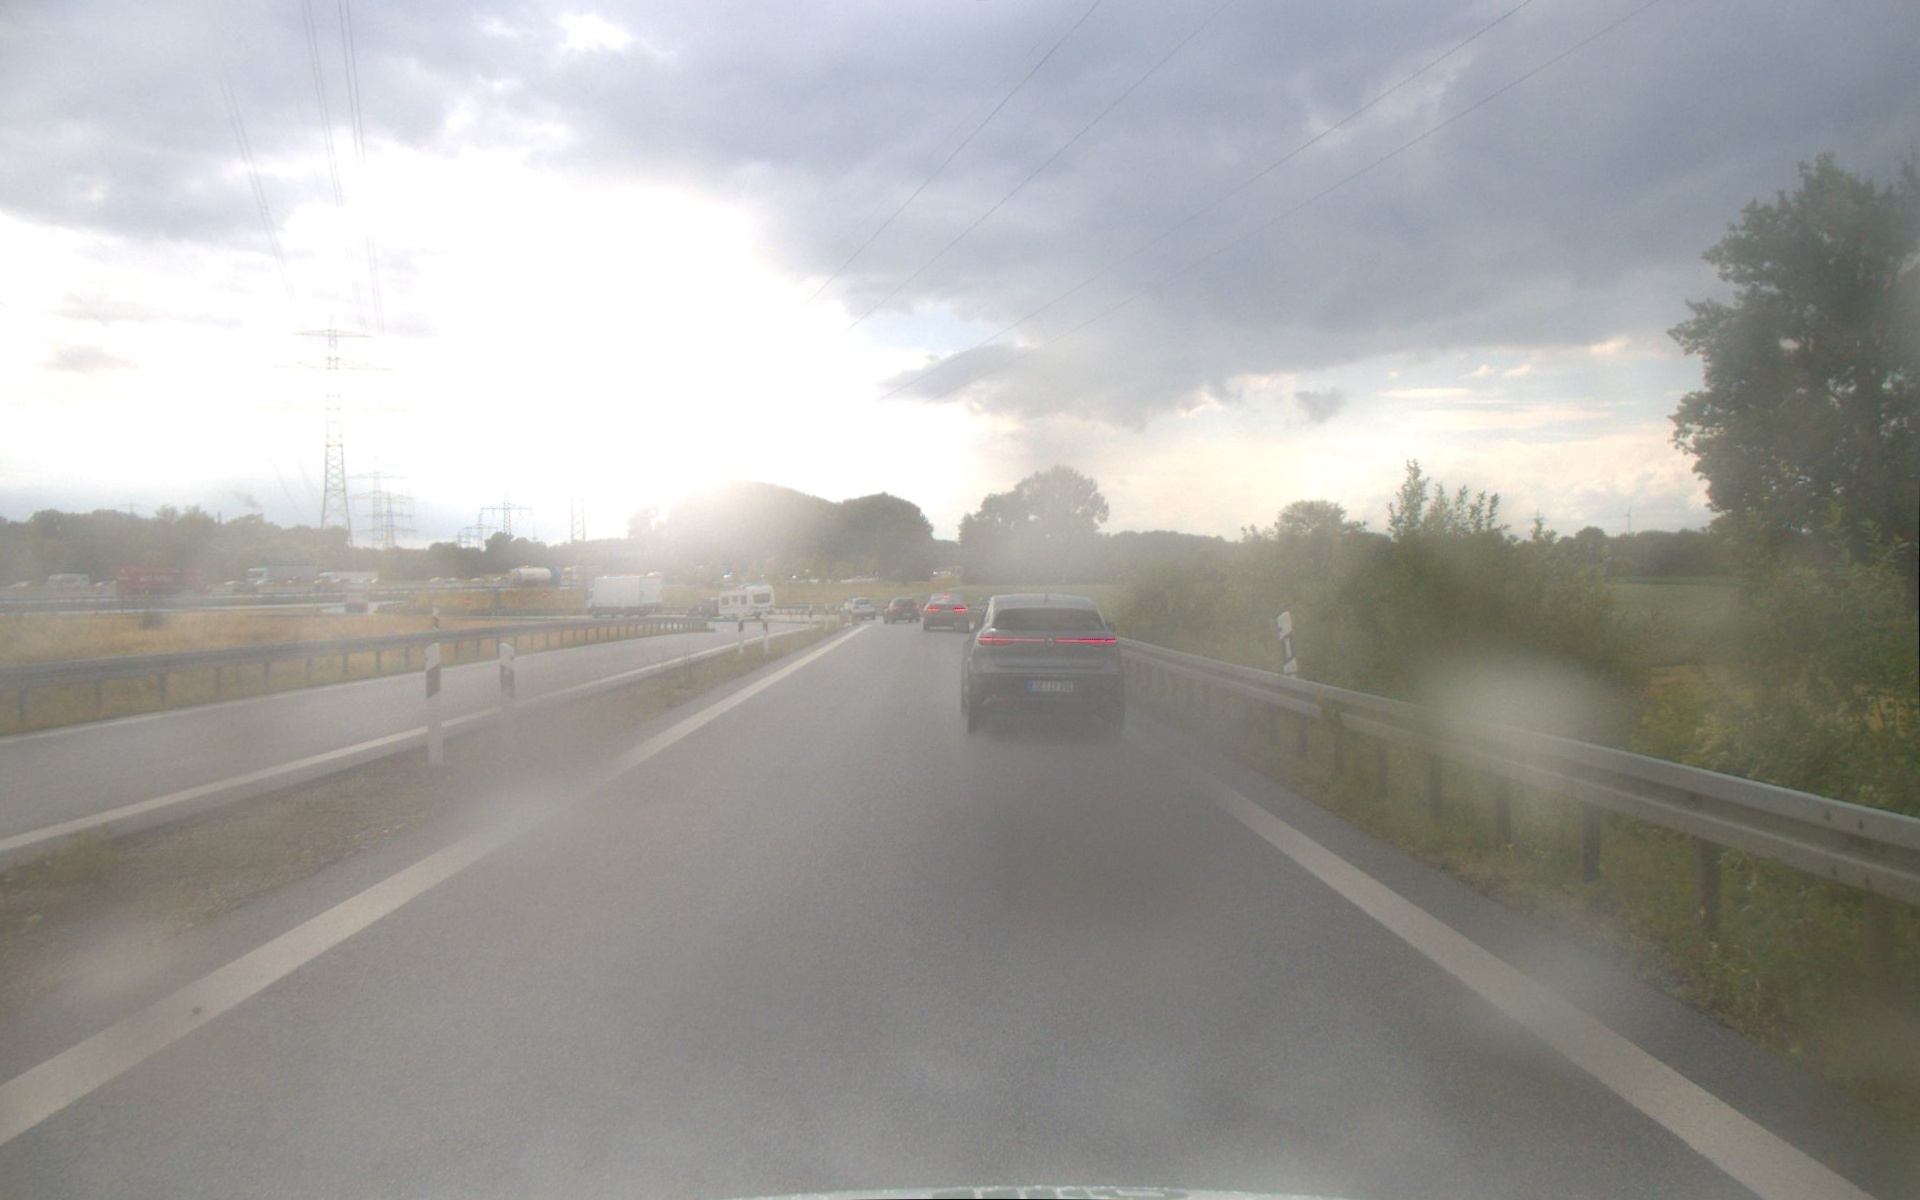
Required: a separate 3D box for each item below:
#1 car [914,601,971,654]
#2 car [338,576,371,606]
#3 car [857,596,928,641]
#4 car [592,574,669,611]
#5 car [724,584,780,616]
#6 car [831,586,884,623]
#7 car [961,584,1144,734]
[{"bbox_3d":[-0.788,1.116,69.284,2.079,2.053,5.530,-1,1,-4],"label":"car"},{"bbox_3d":[-75.082,-1.114,204.843,3.338,3.673,8.979,-1,0,-23],"label":"car"},{"bbox_3d":[-4.073,1.065,98.997,2.324,2.347,5.083,-1,3,-27],"label":"car"},{"bbox_3d":[-29.605,-0.722,148.357,7.080,3.002,3.128,2,3,42],"label":"car"},{"bbox_3d":[-16.619,-0.038,131.831,2.333,2.347,5.065,-2,3,-36],"label":"car"},{"bbox_3d":[-7.276,0.289,116.586,2.318,2.347,5.096,-1,3,-21],"label":"car"},{"bbox_3d":[1.045,0.619,19.929,1.952,1.594,4.150,1,0,1],"label":"car"}]
